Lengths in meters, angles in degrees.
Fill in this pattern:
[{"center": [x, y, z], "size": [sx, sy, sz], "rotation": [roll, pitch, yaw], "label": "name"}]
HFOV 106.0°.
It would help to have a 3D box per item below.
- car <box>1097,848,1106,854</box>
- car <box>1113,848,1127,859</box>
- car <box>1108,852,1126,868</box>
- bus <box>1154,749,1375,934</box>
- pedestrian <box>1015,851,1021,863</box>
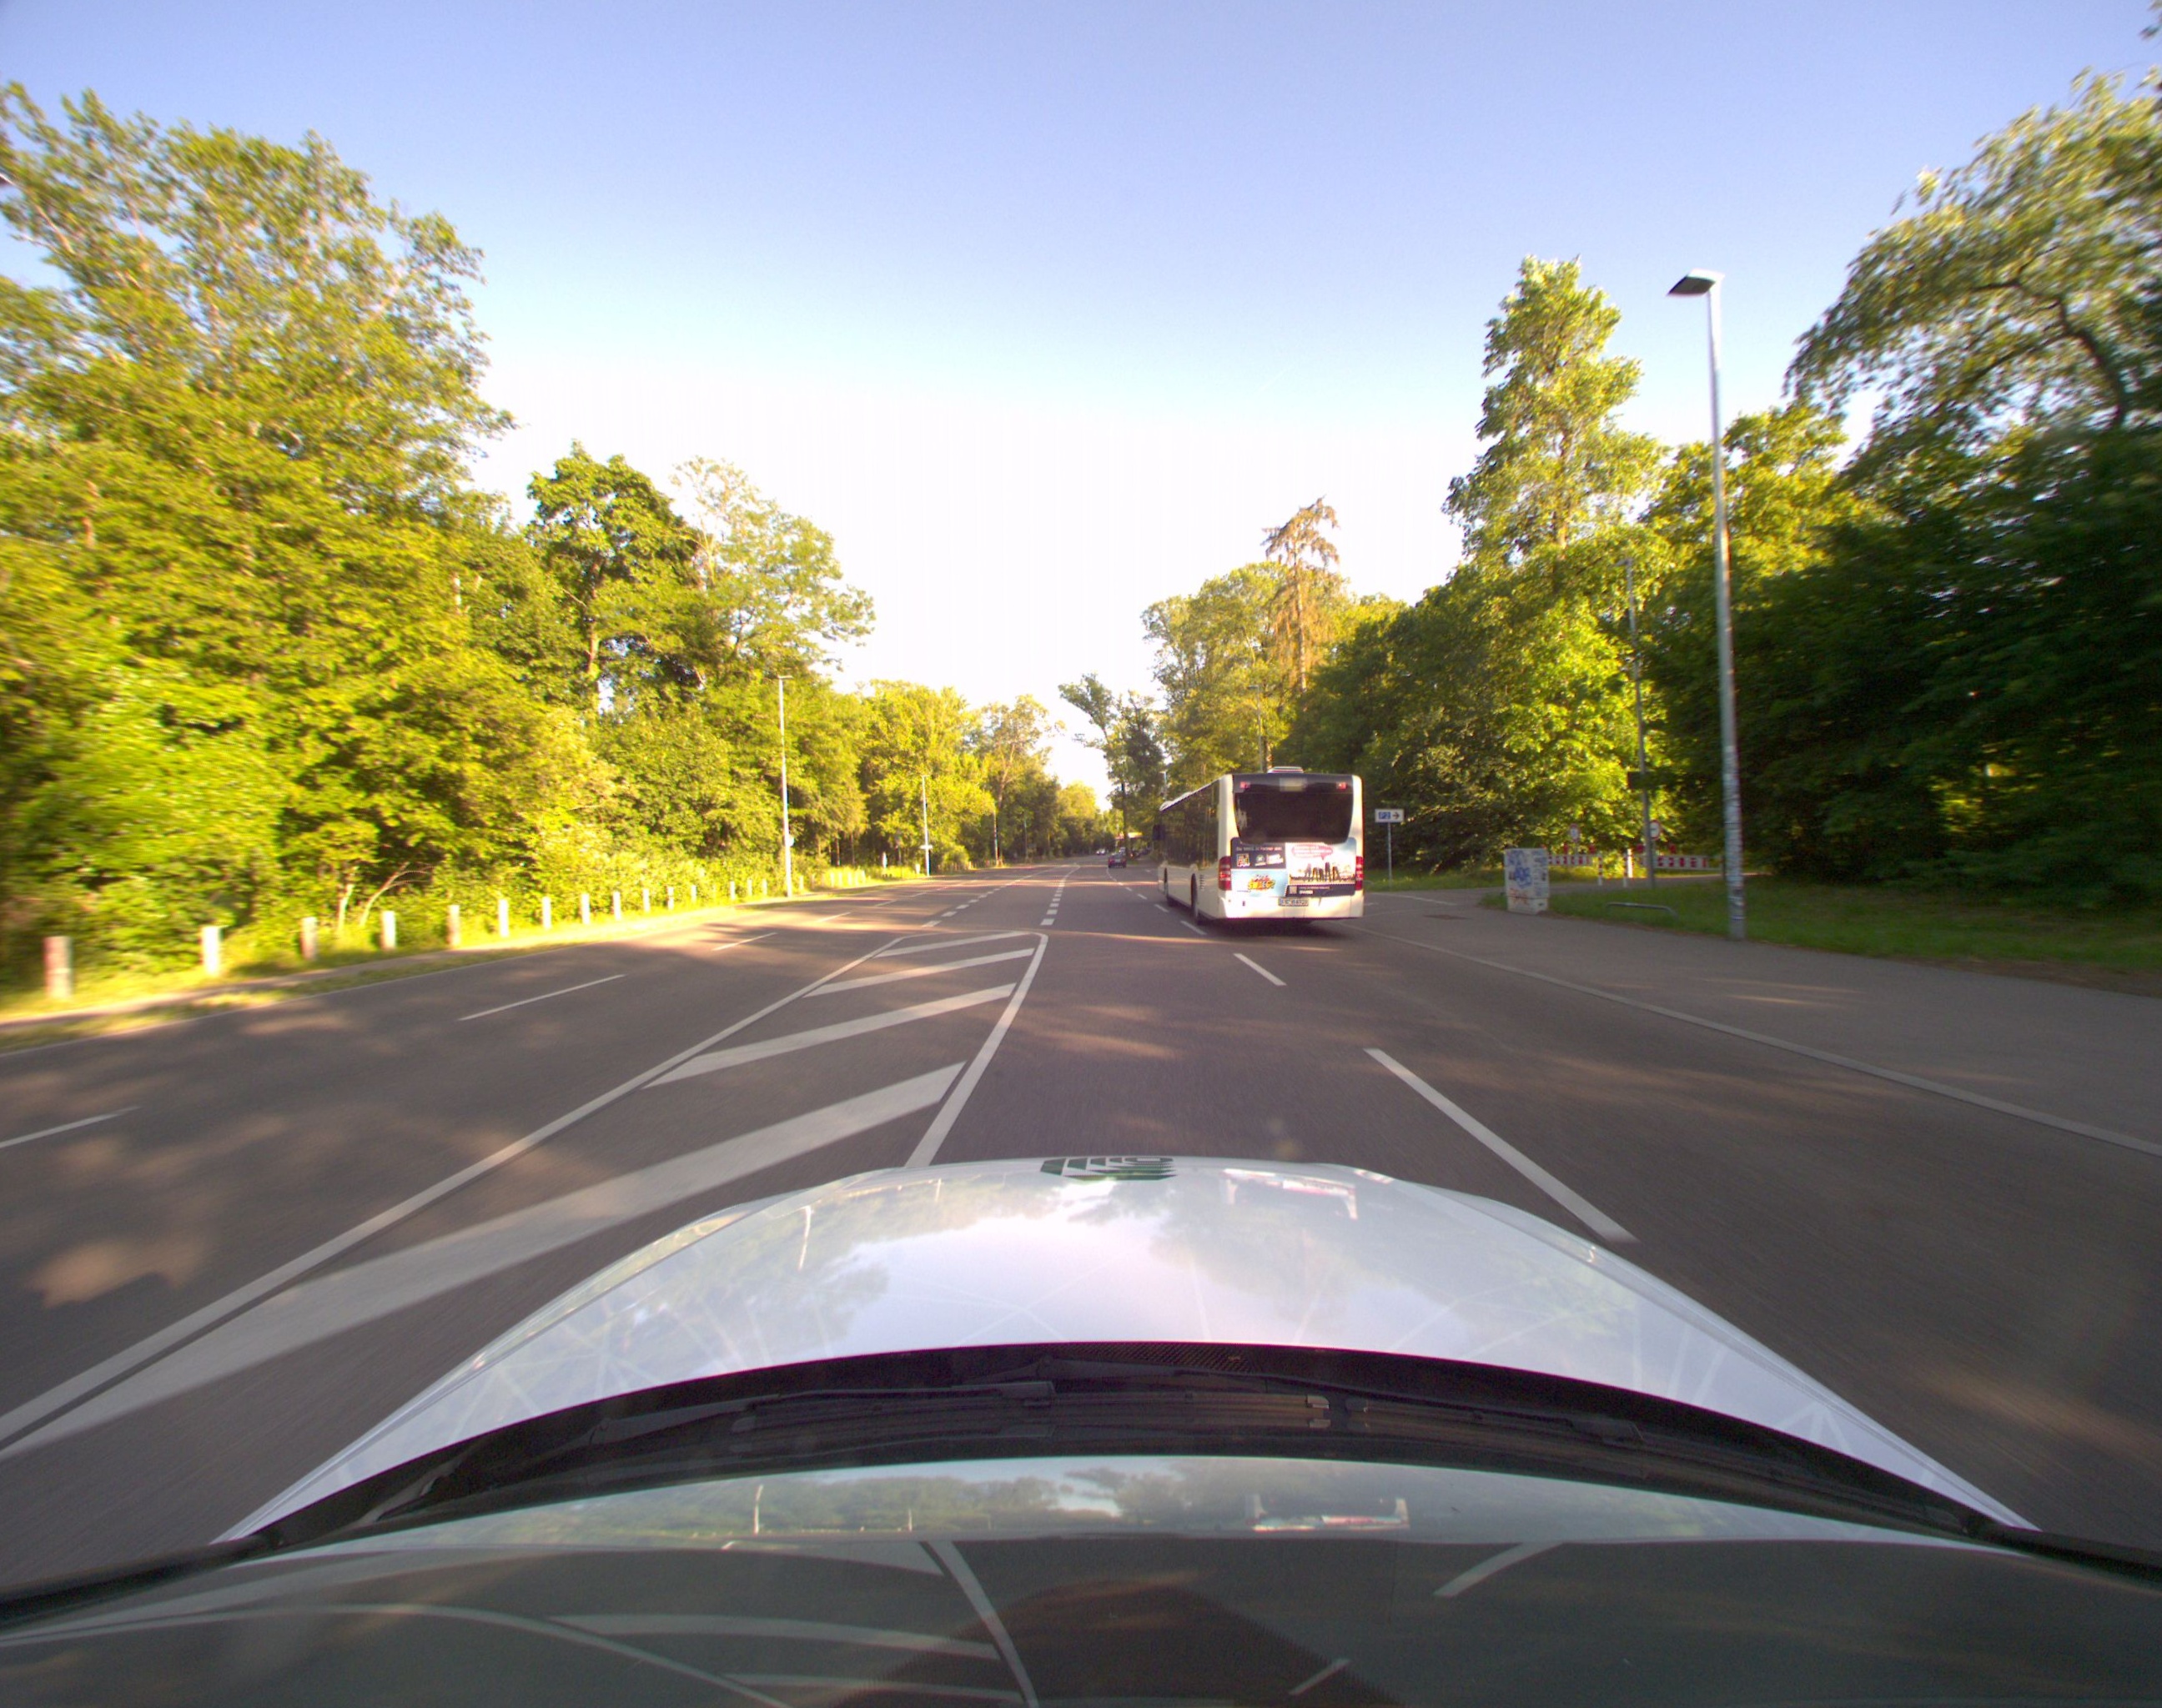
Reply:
[{"center": [5.324, -0.678, 211.786], "size": [1.854, 1.537, 4.137], "rotation": [-1, 0, 4], "label": "car"}, {"center": [6.044, -0.059, 126.023], "size": [1.622, 1.658, 4.143], "rotation": [-1, 0, 10], "label": "car"}, {"center": [3.640, 0.567, 81.320], "size": [1.624, 1.547, 4.137], "rotation": [-1, 0, 4], "label": "car"}, {"center": [3.617, -0.194, 19.705], "size": [2.680, 3.042, 12.041], "rotation": [-1, 0, 1], "label": "bus"}, {"center": [-9.625, 0.410, 123.915], "size": [0.776, 1.812, 0.770], "rotation": [-2, 0, 0], "label": "pedestrian"}]
